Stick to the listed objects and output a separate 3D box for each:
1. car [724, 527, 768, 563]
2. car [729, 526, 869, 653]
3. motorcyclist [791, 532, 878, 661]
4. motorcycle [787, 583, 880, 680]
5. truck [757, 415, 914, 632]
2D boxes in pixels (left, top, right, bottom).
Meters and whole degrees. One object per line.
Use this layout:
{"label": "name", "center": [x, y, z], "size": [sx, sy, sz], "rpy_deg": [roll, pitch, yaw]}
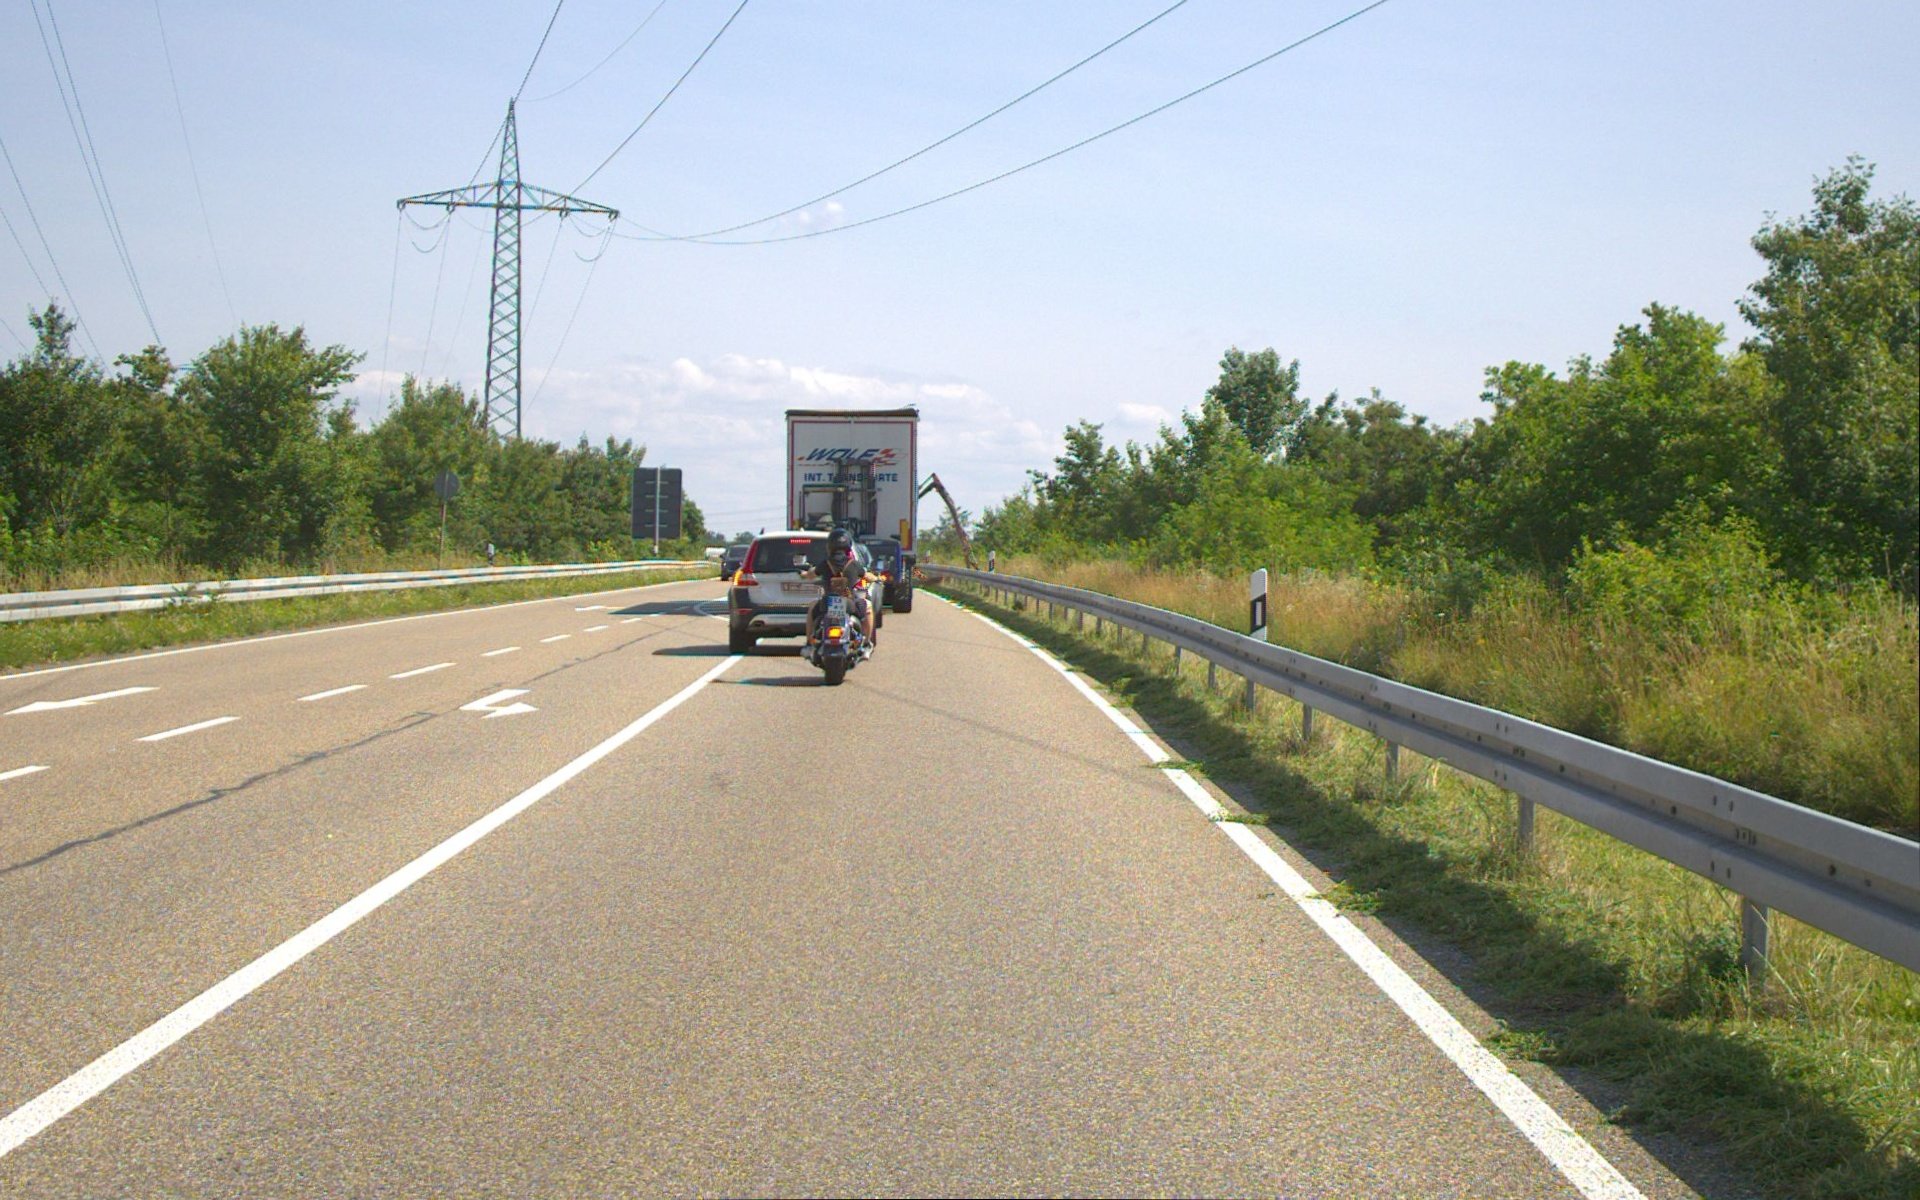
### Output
{"label": "car", "center": [-9.058, -2.346, 145.646], "size": [1.727, 1.486, 4.423], "rpy_deg": [1, 1, -2]}
{"label": "car", "center": [-2.023, -0.154, 43.994], "size": [1.701, 1.531, 3.499], "rpy_deg": [1, 1, -2]}
{"label": "motorcyclist", "center": [-1.275, -0.040, 34.829], "size": [0.837, 1.276, 0.919], "rpy_deg": [1, 1, -4]}
{"label": "motorcycle", "center": [-1.297, 0.307, 34.860], "size": [0.858, 0.912, 2.228], "rpy_deg": [1, 1, -4]}
{"label": "truck", "center": [-2.521, -1.612, 74.447], "size": [2.967, 4.172, 14.823], "rpy_deg": [1, 1, -1]}
